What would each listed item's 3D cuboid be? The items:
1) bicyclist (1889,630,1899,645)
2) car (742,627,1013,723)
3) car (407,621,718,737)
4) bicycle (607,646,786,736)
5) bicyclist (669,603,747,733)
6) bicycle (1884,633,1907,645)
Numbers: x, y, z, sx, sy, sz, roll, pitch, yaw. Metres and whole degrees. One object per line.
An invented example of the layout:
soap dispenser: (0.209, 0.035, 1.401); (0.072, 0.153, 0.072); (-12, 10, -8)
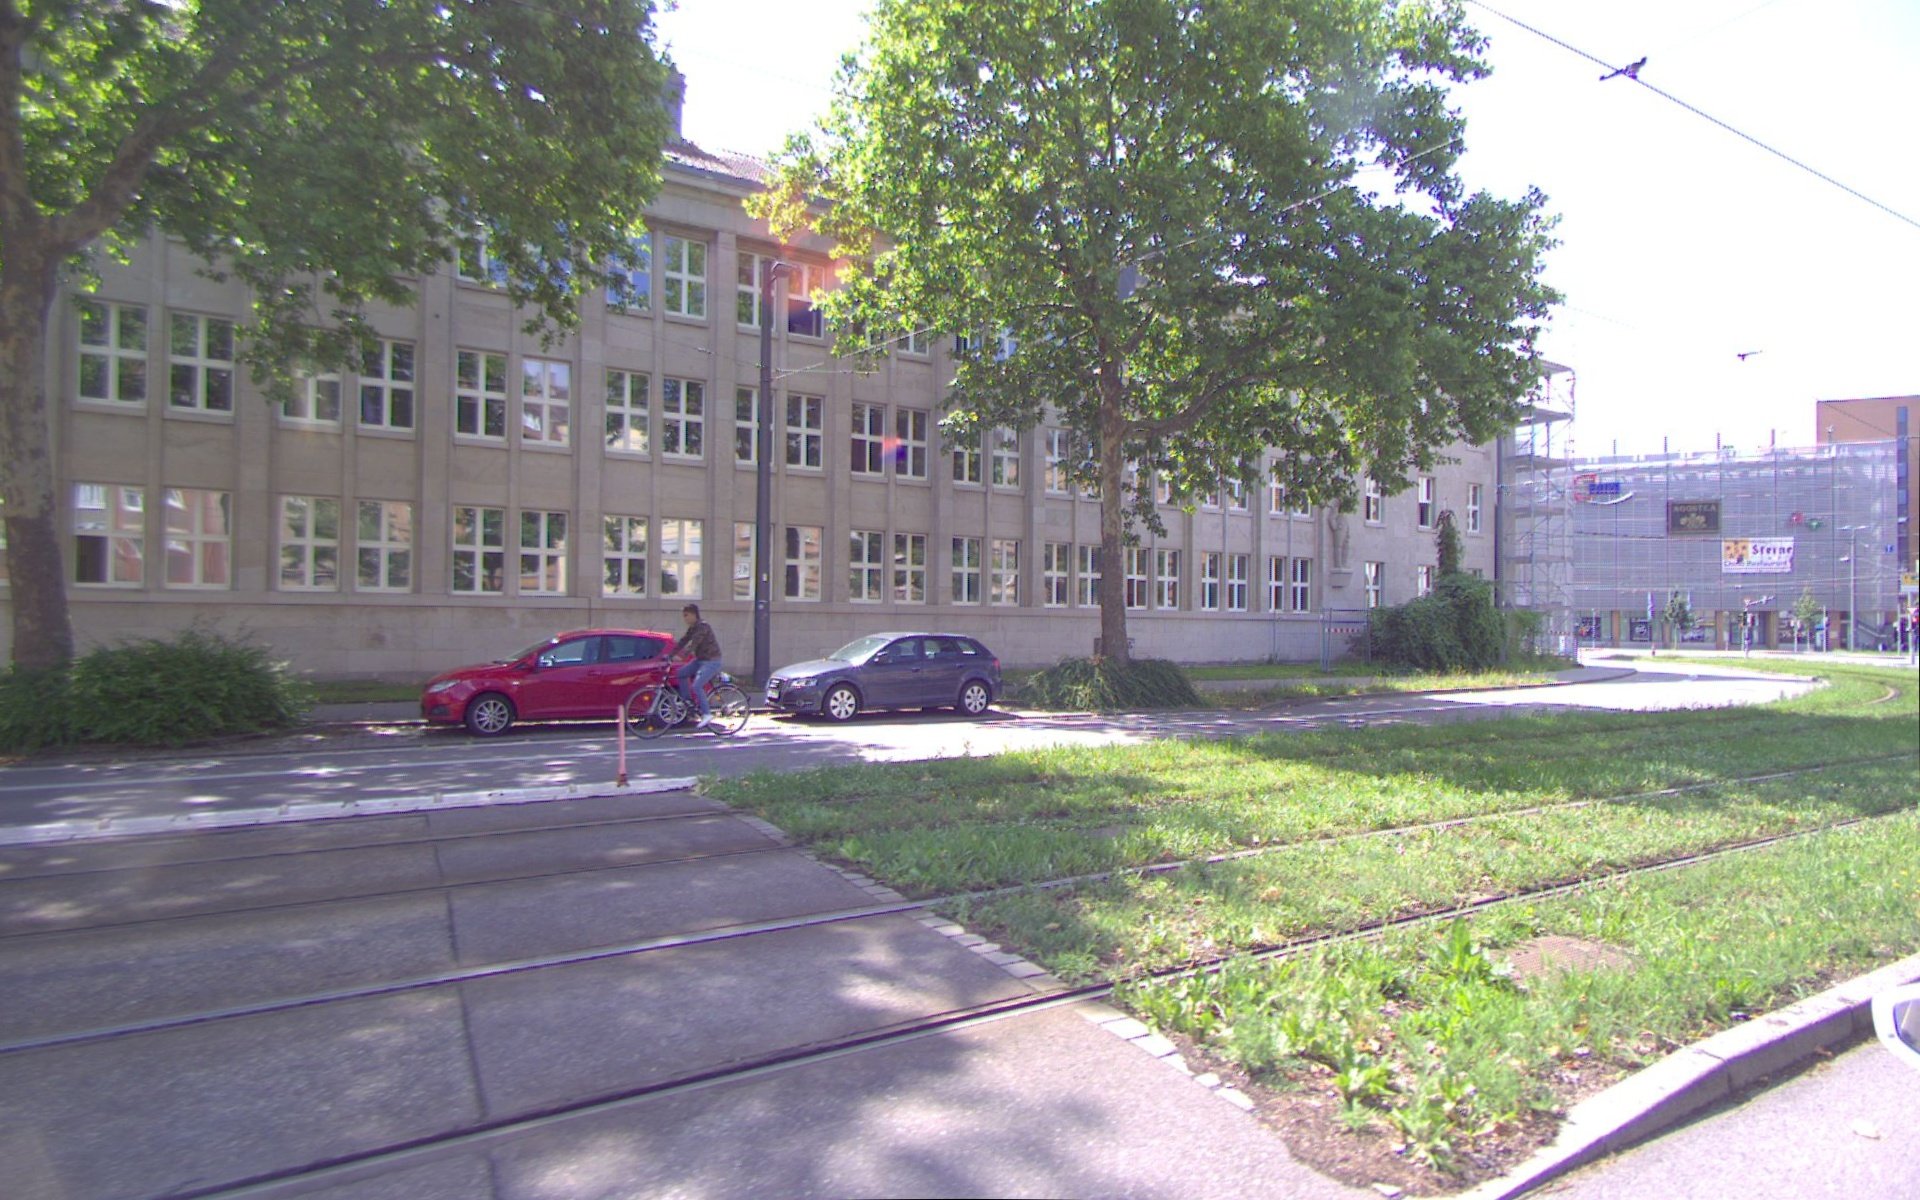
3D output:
bicyclist: (103.273, 4.140, 111.025); (0.652, 1.645, 0.550); (2, -1, 23)
car: (-1.378, 1.224, 17.348); (4.271, 1.387, 1.915); (2, 0, -33)
car: (-5.810, 1.081, 14.768); (4.003, 1.439, 1.917); (2, 0, -31)
bicycle: (-3.611, 1.225, 13.895); (2.256, 1.124, 0.784); (3, -1, -38)
bicyclist: (-3.506, 0.928, 13.975); (0.776, 1.727, 0.756); (2, -1, -36)
bicycle: (103.344, 4.355, 110.986); (1.732, 1.240, 0.584); (2, -1, 24)
